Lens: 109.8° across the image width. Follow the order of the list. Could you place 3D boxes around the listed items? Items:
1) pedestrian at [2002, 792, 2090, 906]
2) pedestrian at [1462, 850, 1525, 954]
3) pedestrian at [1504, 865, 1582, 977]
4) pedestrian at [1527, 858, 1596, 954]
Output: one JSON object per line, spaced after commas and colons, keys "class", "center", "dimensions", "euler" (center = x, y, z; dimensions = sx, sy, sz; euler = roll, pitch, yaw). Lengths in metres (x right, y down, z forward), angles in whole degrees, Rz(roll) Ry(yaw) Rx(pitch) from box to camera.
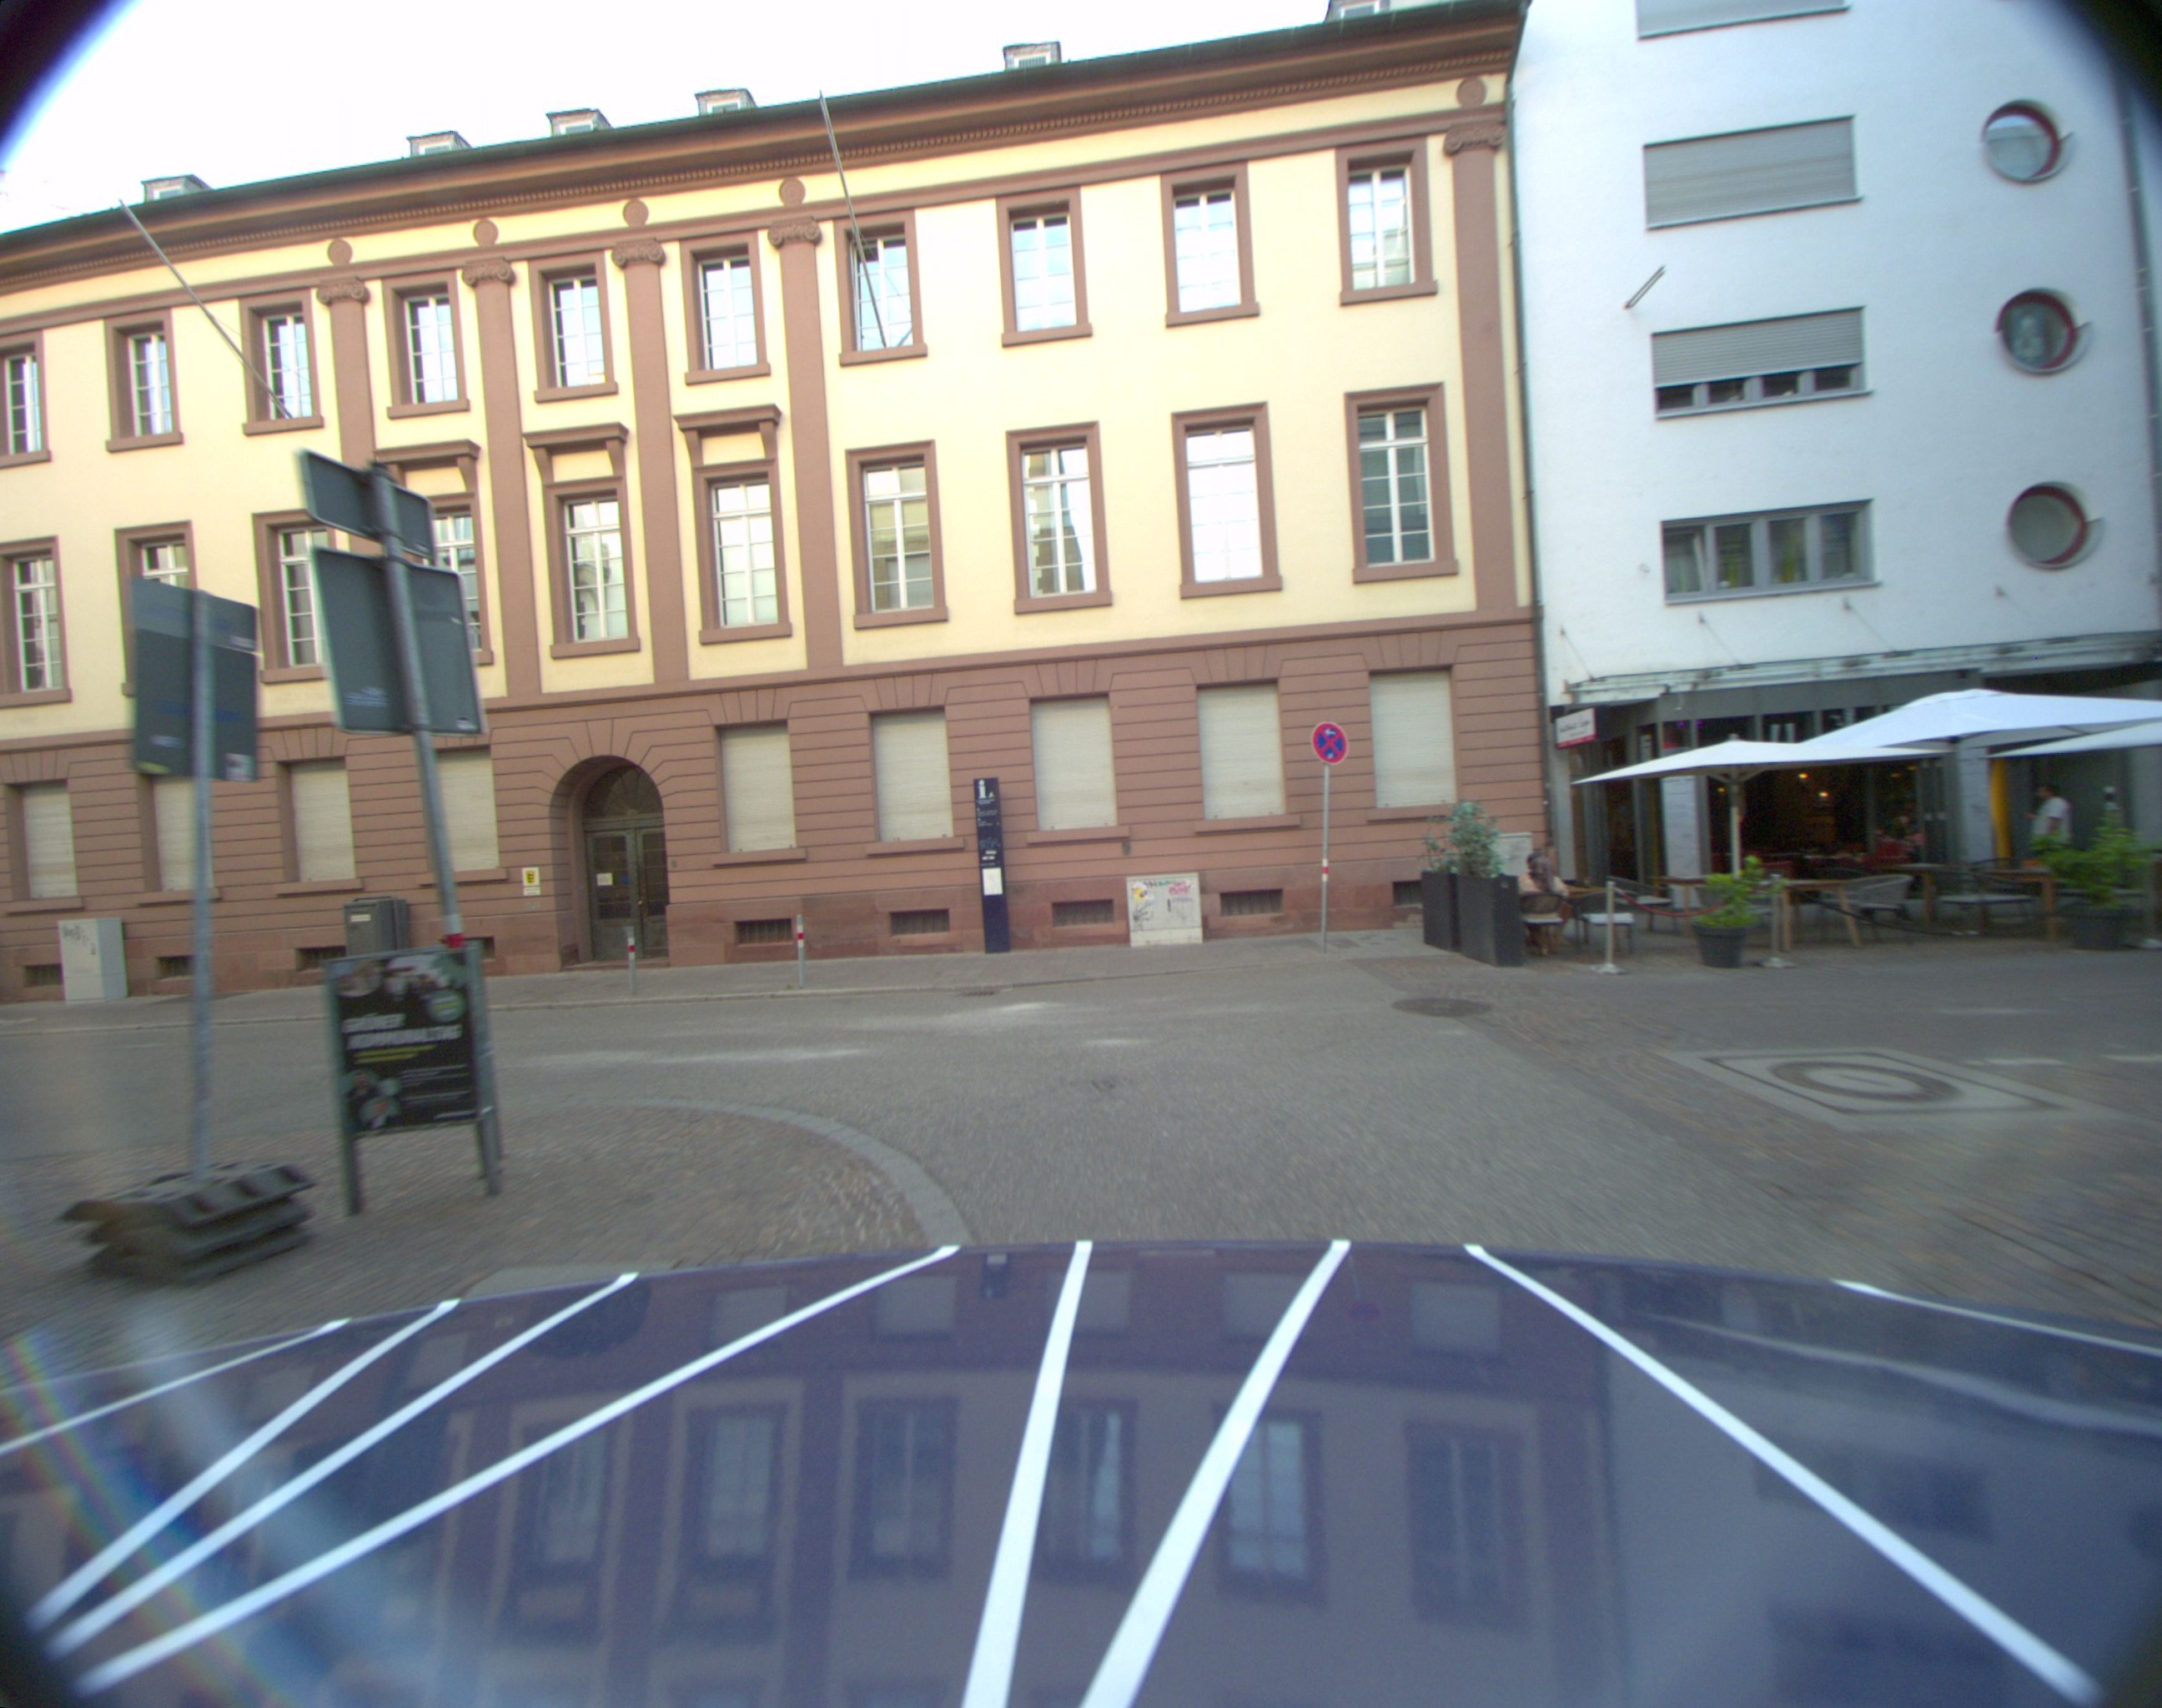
{"class": "pedestrian", "center": [14.576, -0.078, 11.486], "dimensions": [0.671, 1.656, 0.623], "euler": [-4, 1, -23]}
{"class": "pedestrian", "center": [5.534, 0.628, 10.208], "dimensions": [0.548, 1.341, 0.489], "euler": [-3, 1, 7]}
{"class": "pedestrian", "center": [5.236, 0.747, 8.635], "dimensions": [0.561, 1.204, 0.461], "euler": [-3, 1, 7]}
{"class": "pedestrian", "center": [6.354, 0.678, 10.062], "dimensions": [0.548, 1.204, 0.524], "euler": [-3, 1, 7]}
